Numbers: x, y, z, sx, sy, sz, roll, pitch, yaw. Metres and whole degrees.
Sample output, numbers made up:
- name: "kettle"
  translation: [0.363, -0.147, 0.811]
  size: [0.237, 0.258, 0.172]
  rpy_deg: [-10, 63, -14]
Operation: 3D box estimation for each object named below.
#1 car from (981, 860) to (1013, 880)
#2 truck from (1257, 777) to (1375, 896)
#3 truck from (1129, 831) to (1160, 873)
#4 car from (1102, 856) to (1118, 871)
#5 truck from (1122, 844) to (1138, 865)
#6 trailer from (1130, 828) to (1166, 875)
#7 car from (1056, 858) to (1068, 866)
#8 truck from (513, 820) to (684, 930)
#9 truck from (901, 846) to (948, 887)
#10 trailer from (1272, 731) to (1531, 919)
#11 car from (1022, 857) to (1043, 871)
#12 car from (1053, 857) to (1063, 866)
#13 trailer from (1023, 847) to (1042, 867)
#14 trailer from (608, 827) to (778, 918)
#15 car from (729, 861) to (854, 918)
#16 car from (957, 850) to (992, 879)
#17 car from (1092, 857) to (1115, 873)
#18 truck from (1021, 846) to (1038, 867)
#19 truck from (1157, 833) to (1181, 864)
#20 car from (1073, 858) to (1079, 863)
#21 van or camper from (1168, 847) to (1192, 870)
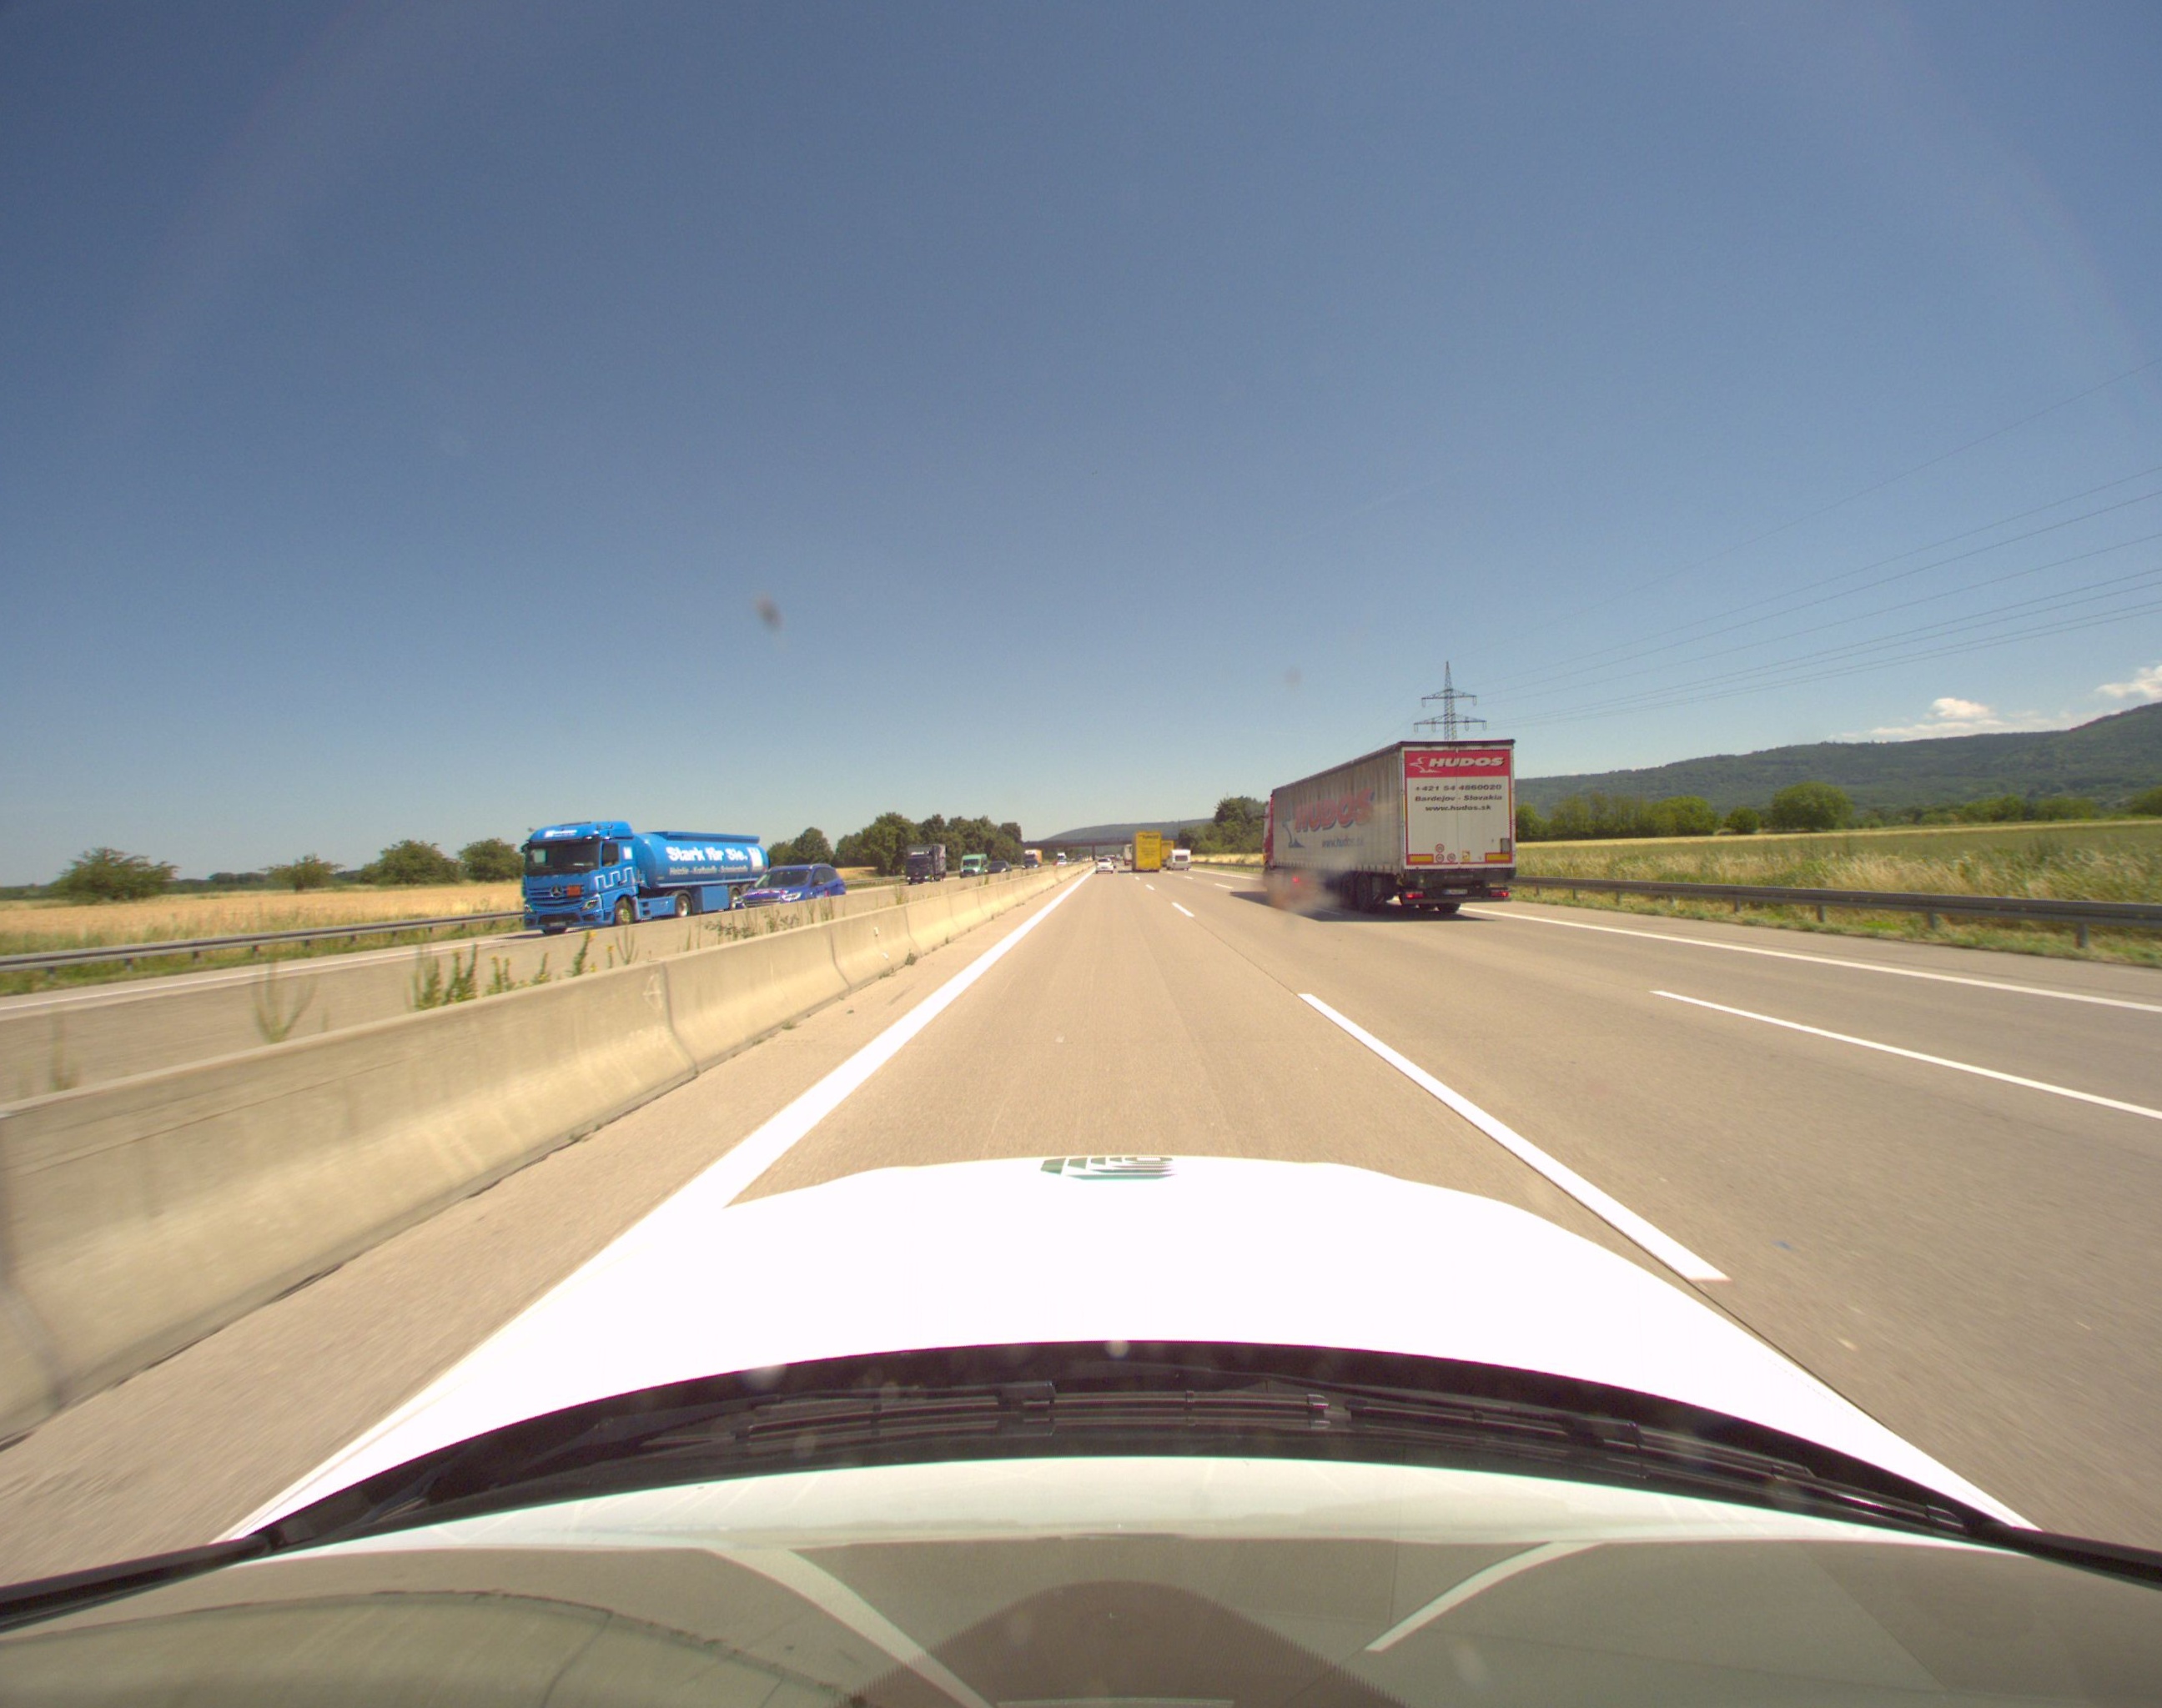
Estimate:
- name: "car"
  translation: [-6.908, 1.296, 67.353]
  size: [1.933, 1.558, 4.890]
  rpy_deg: [-2, 0, 2]
- name: "truck"
  translation: [8.835, -0.615, 31.389]
  size: [2.895, 4.100, 6.274]
  rpy_deg: [0, 0, 2]
- name: "truck"
  translation: [7.138, -0.251, 92.350]
  size: [3.203, 4.563, 5.839]
  rpy_deg: [0, 0, 2]
- name: "car"
  translation: [4.265, 1.361, 118.838]
  size: [2.245, 2.013, 4.300]
  rpy_deg: [0, 0, 3]
- name: "truck"
  translation: [9.273, 0.136, 153.574]
  size: [2.809, 3.761, 6.286]
  rpy_deg: [0, 0, 2]
- name: "trailer"
  translation: [6.841, -0.257, 85.418]
  size: [3.203, 4.563, 13.464]
  rpy_deg: [0, 0, 2]
- name: "car"
  translation: [-3.569, 1.572, 156.527]
  size: [1.986, 1.364, 4.672]
  rpy_deg: [-4, 0, 2]
- name: "truck"
  translation: [-15.856, 0.627, 27.233]
  size: [2.475, 3.309, 5.265]
  rpy_deg: [0, 0, 1]
- name: "truck"
  translation: [-14.500, 1.136, 76.013]
  size: [2.545, 3.512, 7.887]
  rpy_deg: [-3, 0, 2]
- name: "trailer"
  translation: [8.590, -0.622, 24.565]
  size: [2.863, 4.100, 13.517]
  rpy_deg: [0, 0, 2]
- name: "car"
  translation: [-5.617, 1.160, 95.125]
  size: [1.986, 1.576, 4.850]
  rpy_deg: [0, 0, 2]
- name: "car"
  translation: [-5.389, 1.858, 191.165]
  size: [1.987, 2.013, 3.999]
  rpy_deg: [-2, 0, 0]
- name: "trailer"
  translation: [-10.756, 0.607, 182.257]
  size: [2.862, 4.198, 14.145]
  rpy_deg: [-3, 0, 2]
- name: "trailer"
  translation: [-15.690, 0.683, 33.946]
  size: [2.506, 3.272, 9.255]
  rpy_deg: [0, 0, 1]
- name: "car"
  translation: [-7.761, 0.900, 22.326]
  size: [1.773, 1.348, 4.453]
  rpy_deg: [1, 0, 0]
- name: "car"
  translation: [-9.947, 0.999, 76.624]
  size: [2.141, 2.551, 6.466]
  rpy_deg: [-2, 0, 2]
- name: "car"
  translation: [2.243, 1.077, 79.620]
  size: [2.098, 1.536, 4.125]
  rpy_deg: [0, 0, 3]
- name: "truck"
  translation: [-10.986, 0.584, 174.978]
  size: [2.858, 4.195, 5.231]
  rpy_deg: [-3, -1, 2]
- name: "truck"
  translation: [13.061, -0.780, 121.648]
  size: [2.987, 4.314, 9.688]
  rpy_deg: [0, 0, 2]
- name: "car"
  translation: [-1.321, 1.671, 217.218]
  size: [1.684, 1.331, 4.001]
  rpy_deg: [0, 0, 2]
- name: "van or camper"
  translation: [11.120, 0.522, 91.712]
  size: [2.216, 2.531, 5.433]
  rpy_deg: [0, 0, 2]
